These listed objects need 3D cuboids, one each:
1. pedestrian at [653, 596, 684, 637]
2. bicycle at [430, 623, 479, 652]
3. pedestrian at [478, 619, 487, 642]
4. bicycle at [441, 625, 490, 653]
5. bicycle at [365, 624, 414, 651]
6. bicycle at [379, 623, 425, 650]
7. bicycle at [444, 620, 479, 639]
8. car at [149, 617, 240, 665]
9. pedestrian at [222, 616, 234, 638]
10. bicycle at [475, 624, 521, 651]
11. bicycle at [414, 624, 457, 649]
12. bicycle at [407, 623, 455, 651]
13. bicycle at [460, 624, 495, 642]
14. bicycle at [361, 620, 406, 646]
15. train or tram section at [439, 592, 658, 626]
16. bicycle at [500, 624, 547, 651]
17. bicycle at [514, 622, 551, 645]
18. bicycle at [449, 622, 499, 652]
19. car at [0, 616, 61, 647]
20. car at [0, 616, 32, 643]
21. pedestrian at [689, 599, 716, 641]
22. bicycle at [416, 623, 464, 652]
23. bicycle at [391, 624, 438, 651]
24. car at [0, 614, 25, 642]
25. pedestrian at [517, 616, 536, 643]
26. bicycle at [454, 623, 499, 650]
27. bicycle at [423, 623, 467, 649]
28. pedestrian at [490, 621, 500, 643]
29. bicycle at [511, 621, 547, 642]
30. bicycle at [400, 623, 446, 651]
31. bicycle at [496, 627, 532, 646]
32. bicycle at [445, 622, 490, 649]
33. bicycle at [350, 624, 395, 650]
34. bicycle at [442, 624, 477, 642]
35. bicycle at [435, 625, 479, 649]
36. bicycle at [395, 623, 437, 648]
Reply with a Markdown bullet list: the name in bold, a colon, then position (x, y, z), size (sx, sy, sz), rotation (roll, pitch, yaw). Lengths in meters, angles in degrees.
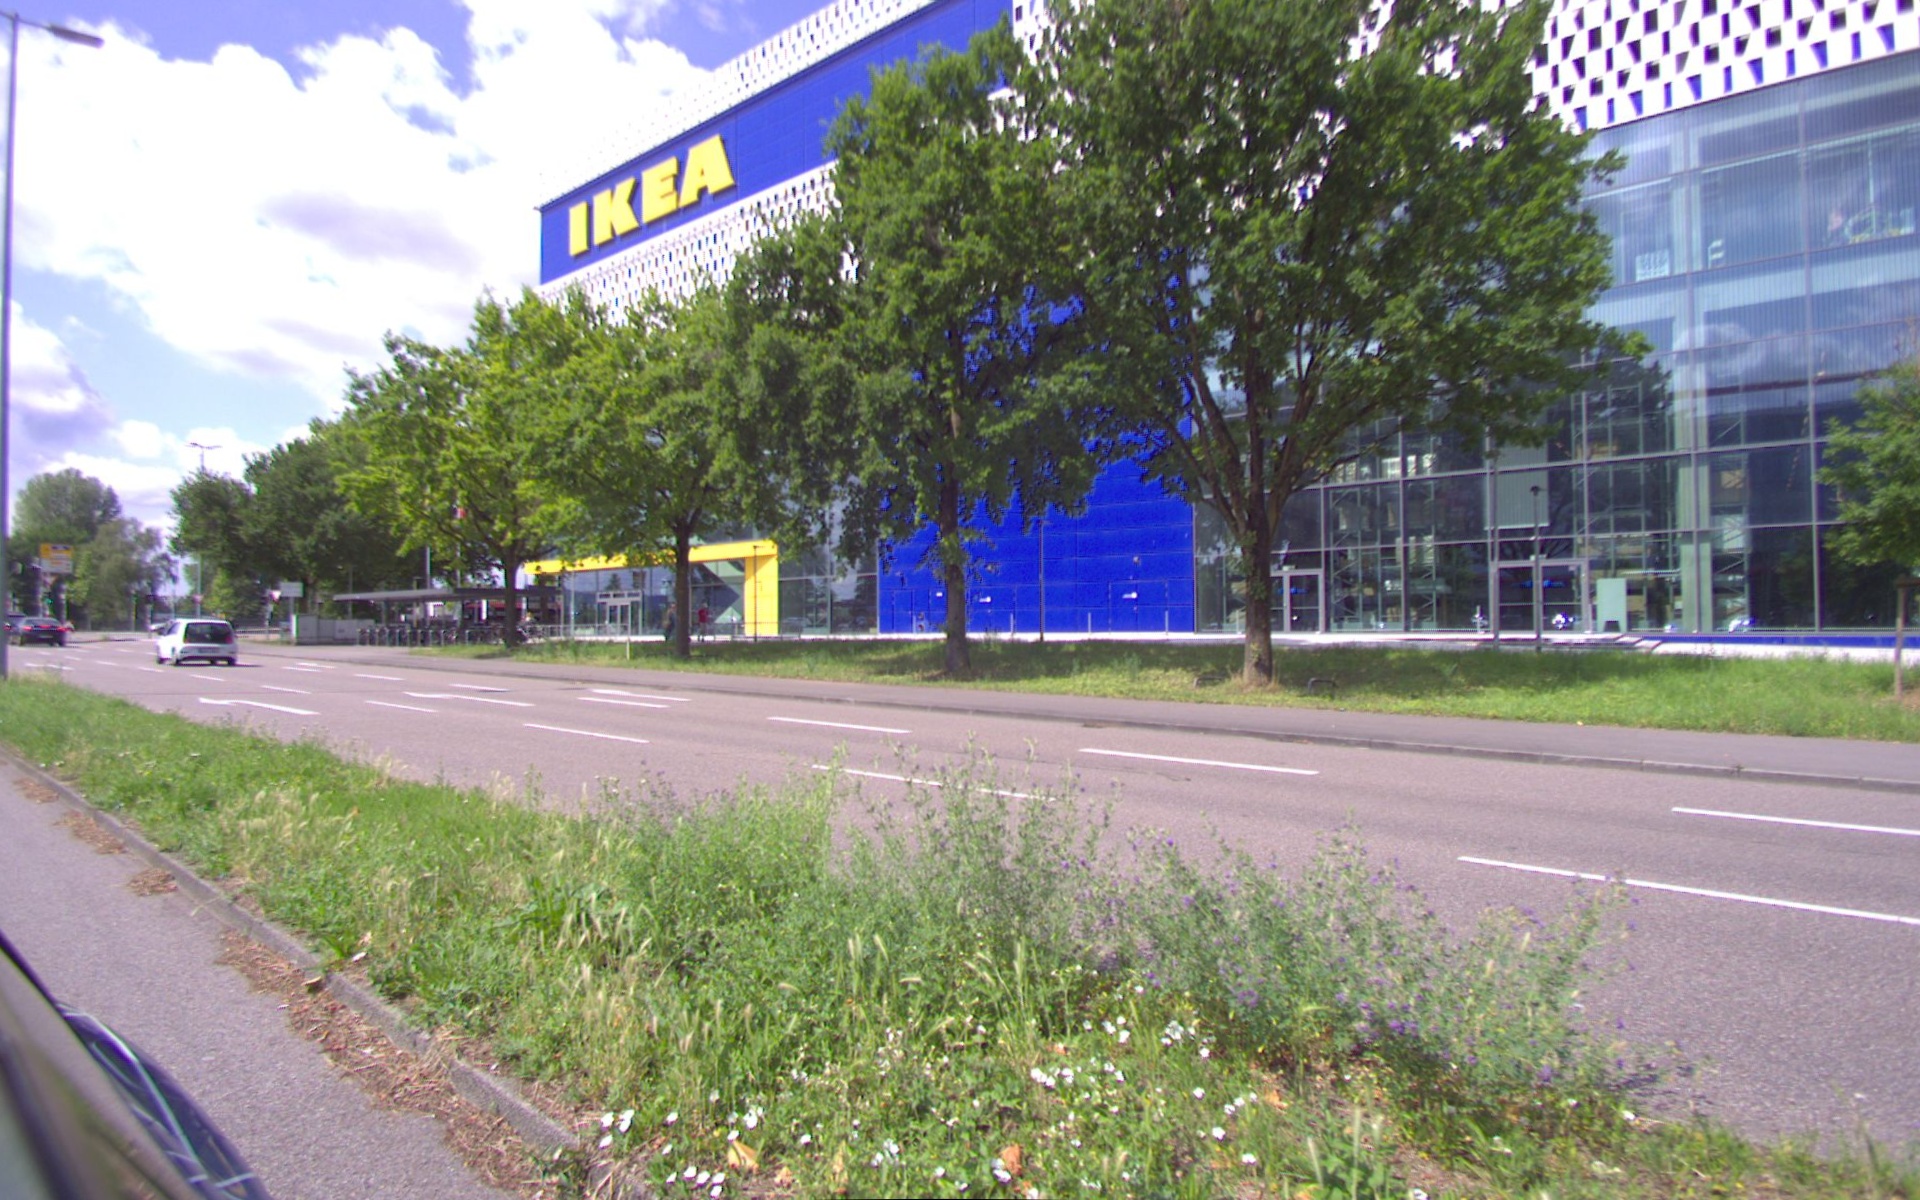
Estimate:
- **pedestrian**: position (-12.389, 0.715, 42.966), size (0.886, 1.715, 0.940), rotation (-1, -1, 40)
- **bicycle**: position (-23.093, 1.685, 46.224), size (0.629, 1.282, 1.905), rotation (-3, -2, 40)
- **pedestrian**: position (-36.068, 2.327, 76.435), size (0.515, 1.716, 0.405), rotation (-2, -2, 35)
- **bicycle**: position (-22.213, 1.732, 45.477), size (0.629, 1.192, 1.905), rotation (-3, -2, 40)
- **bicycle**: position (-28.756, 1.876, 51.015), size (0.629, 1.282, 2.068), rotation (-3, -2, 40)
- **bicycle**: position (-27.685, 1.813, 50.235), size (0.629, 1.282, 1.905), rotation (-3, -2, 40)
- **bicycle**: position (-30.383, 1.791, 61.663), size (0.467, 1.181, 1.938), rotation (-2, -2, 36)
- **car**: position (-24.610, 1.300, 32.501), size (3.669, 1.440, 1.625), rotation (-1, -3, 42)
- **pedestrian**: position (-52.193, 1.924, 72.192), size (0.616, 1.502, 0.435), rotation (-1, -2, 24)
- **bicycle**: position (-21.781, 1.765, 47.717), size (0.629, 1.188, 1.905), rotation (-3, -2, 40)
- **bicycle**: position (-27.330, 1.904, 52.747), size (0.629, 1.282, 1.905), rotation (-3, -2, 40)
- **bicycle**: position (-25.076, 1.752, 47.990), size (0.629, 1.282, 1.905), rotation (-3, -2, 40)
- **bicycle**: position (-29.365, 2.029, 61.657), size (0.528, 1.078, 1.916), rotation (-1, -1, 36)
- **bicycle**: position (-29.459, 1.674, 51.700), size (0.629, 1.282, 1.905), rotation (-3, -2, 40)
- **train or tram section**: position (-47.482, 1.265, 119.055), size (4.525, 3.055, 24.800), rotation (-2, -4, 39)
- **bicycle**: position (-20.071, 1.713, 46.591), size (0.629, 1.193, 1.905), rotation (-3, -2, 40)
- **bicycle**: position (-24.457, 1.906, 57.976), size (0.596, 1.253, 1.927), rotation (-1, -2, 36)
- **bicycle**: position (-21.435, 1.625, 44.706), size (0.629, 1.282, 1.905), rotation (-3, -2, 40)
- **car**: position (-46.801, 1.572, 50.918), size (4.515, 1.432, 1.647), rotation (-1, -4, 40)
- **car**: position (-51.325, 1.567, 54.570), size (4.094, 1.402, 1.397), rotation (-1, -4, 41)
- **pedestrian**: position (-11.320, 0.877, 44.480), size (0.886, 1.836, 0.746), rotation (-1, -1, 41)
- **bicycle**: position (-24.121, 1.727, 46.964), size (0.629, 1.282, 1.905), rotation (-3, -2, 40)
- **bicycle**: position (-26.650, 1.823, 49.462), size (0.629, 1.282, 1.905), rotation (-3, -2, 40)
- **car**: position (-57.917, 1.647, 60.975), size (3.997, 1.627, 1.752), rotation (0, -3, 40)
- **pedestrian**: position (-27.906, 1.883, 65.209), size (0.710, 1.719, 0.886), rotation (-1, -2, 40)
- **bicycle**: position (-23.739, 1.771, 49.712), size (0.629, 1.282, 1.905), rotation (-3, -2, 40)
- **bicycle**: position (-26.365, 1.830, 51.842), size (0.629, 1.282, 1.905), rotation (-3, -2, 40)
- **pedestrian**: position (-35.721, 2.461, 77.708), size (0.408, 1.716, 0.522), rotation (-2, -2, 31)
- **bicycle**: position (-24.905, 1.825, 58.513), size (0.528, 1.219, 1.916), rotation (-1, -1, 36)
- **bicycle**: position (-25.848, 1.788, 48.735), size (0.629, 1.282, 1.905), rotation (-3, -2, 40)
- **bicycle**: position (-26.163, 2.116, 59.380), size (0.528, 1.078, 1.916), rotation (-1, -1, 36)
- **bicycle**: position (-24.496, 1.757, 50.379), size (0.629, 1.282, 1.905), rotation (-3, -2, 40)
- **bicycle**: position (-30.501, 1.902, 52.541), size (0.629, 1.282, 1.905), rotation (-3, -2, 40)
- **bicycle**: position (-31.028, 2.021, 62.733), size (0.528, 1.078, 1.917), rotation (-1, -1, 35)
- **bicycle**: position (-25.308, 1.851, 50.965), size (0.629, 1.192, 1.905), rotation (-3, -2, 40)
- **bicycle**: position (-29.112, 1.883, 54.178), size (0.629, 1.282, 1.905), rotation (-3, -2, 40)
